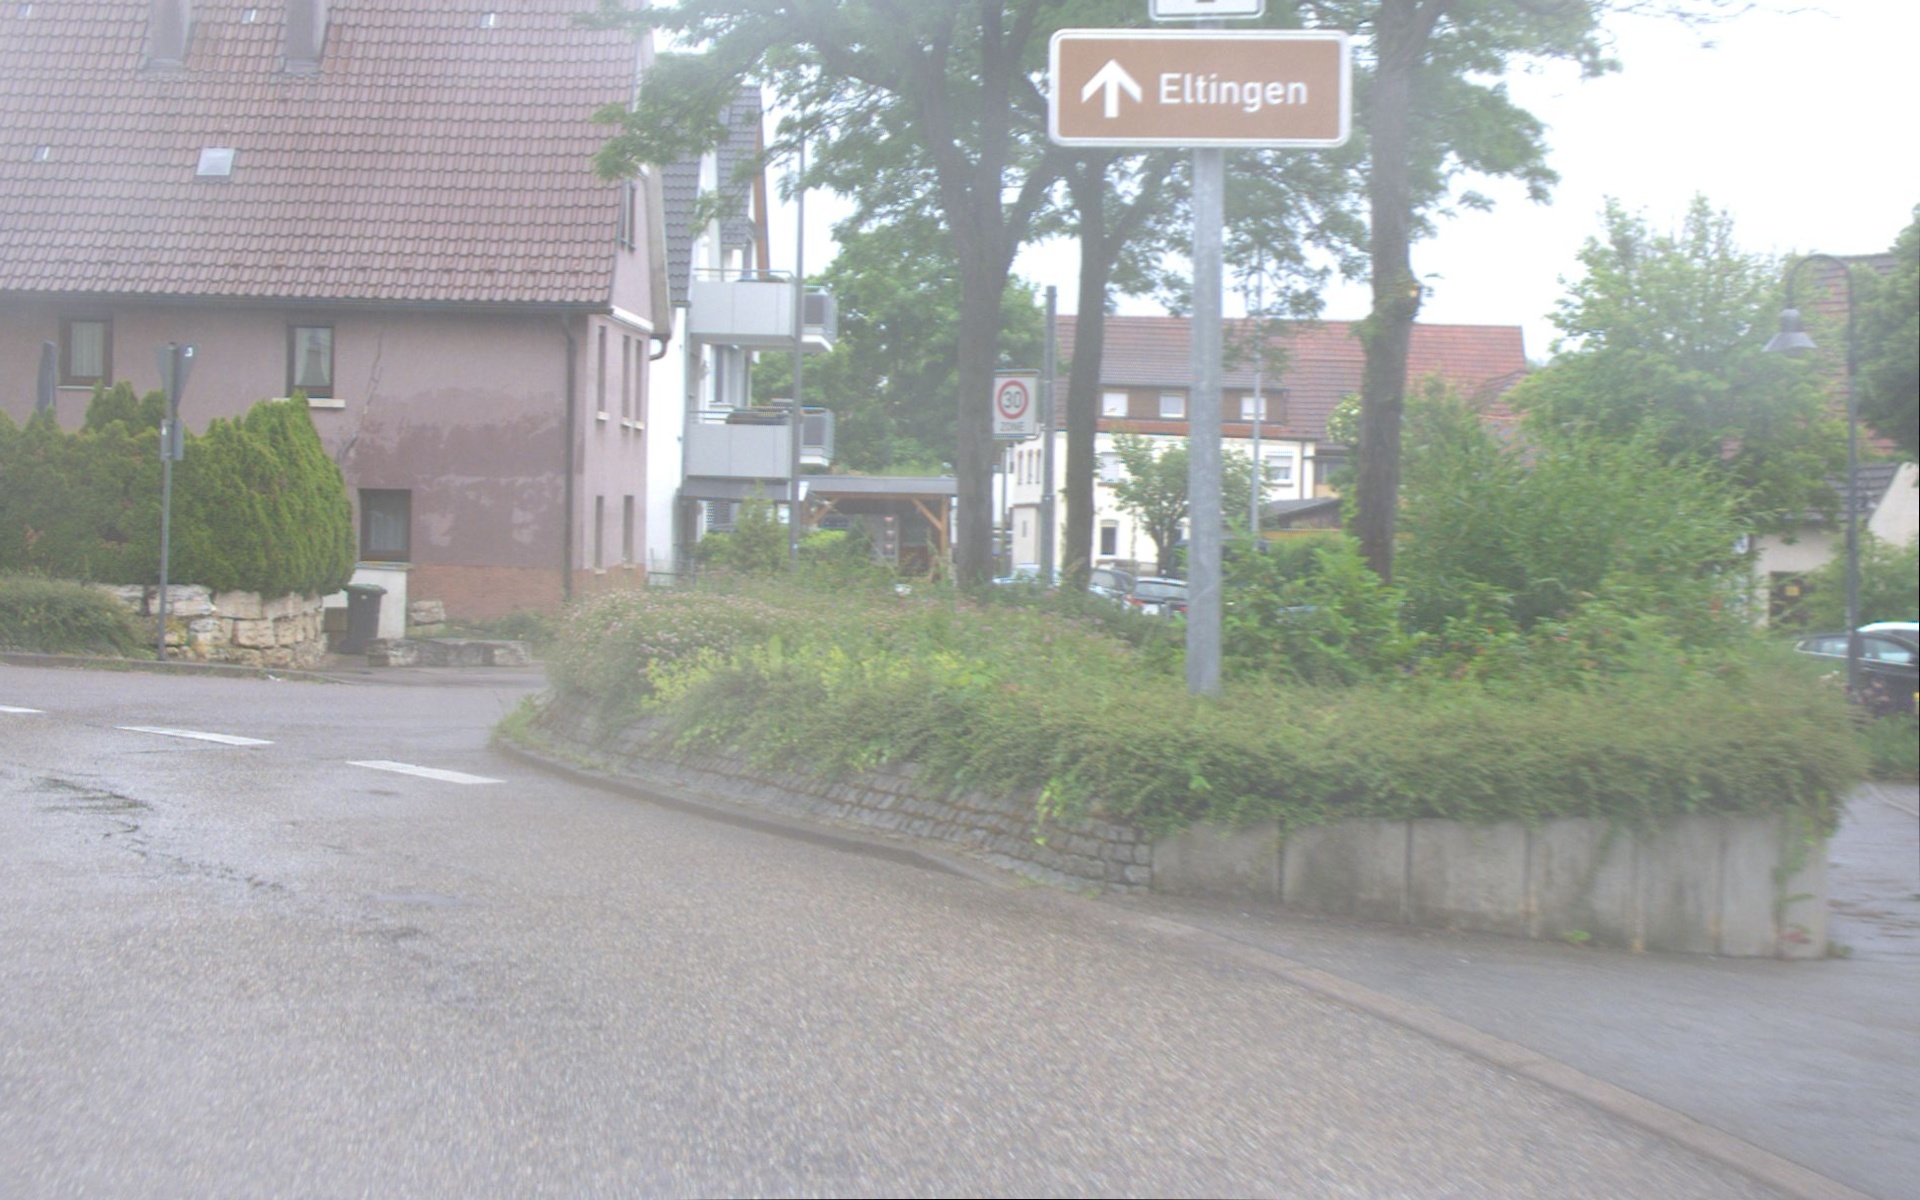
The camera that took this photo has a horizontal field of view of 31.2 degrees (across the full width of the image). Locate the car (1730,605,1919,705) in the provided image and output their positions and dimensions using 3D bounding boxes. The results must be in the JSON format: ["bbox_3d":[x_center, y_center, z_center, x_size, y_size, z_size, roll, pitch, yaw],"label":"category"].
[{"bbox_3d":[16.435,1.024,62.070,4.476,1.546,1.997,4,1,29],"label":"car"}]

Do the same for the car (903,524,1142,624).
[{"bbox_3d":[1.090,-0.454,59.530,3.987,1.451,1.946,4,1,1],"label":"car"}]

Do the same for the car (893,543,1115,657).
[{"bbox_3d":[0.850,-0.009,64.979,3.987,1.875,1.839,4,1,4],"label":"car"}]

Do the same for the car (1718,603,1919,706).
[{"bbox_3d":[15.457,0.955,59.692,3.994,1.546,1.997,4,1,29],"label":"car"}]

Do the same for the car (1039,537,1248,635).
[{"bbox_3d":[3.622,-0.282,68.163,3.987,1.691,2.000,3,1,2],"label":"car"}]
